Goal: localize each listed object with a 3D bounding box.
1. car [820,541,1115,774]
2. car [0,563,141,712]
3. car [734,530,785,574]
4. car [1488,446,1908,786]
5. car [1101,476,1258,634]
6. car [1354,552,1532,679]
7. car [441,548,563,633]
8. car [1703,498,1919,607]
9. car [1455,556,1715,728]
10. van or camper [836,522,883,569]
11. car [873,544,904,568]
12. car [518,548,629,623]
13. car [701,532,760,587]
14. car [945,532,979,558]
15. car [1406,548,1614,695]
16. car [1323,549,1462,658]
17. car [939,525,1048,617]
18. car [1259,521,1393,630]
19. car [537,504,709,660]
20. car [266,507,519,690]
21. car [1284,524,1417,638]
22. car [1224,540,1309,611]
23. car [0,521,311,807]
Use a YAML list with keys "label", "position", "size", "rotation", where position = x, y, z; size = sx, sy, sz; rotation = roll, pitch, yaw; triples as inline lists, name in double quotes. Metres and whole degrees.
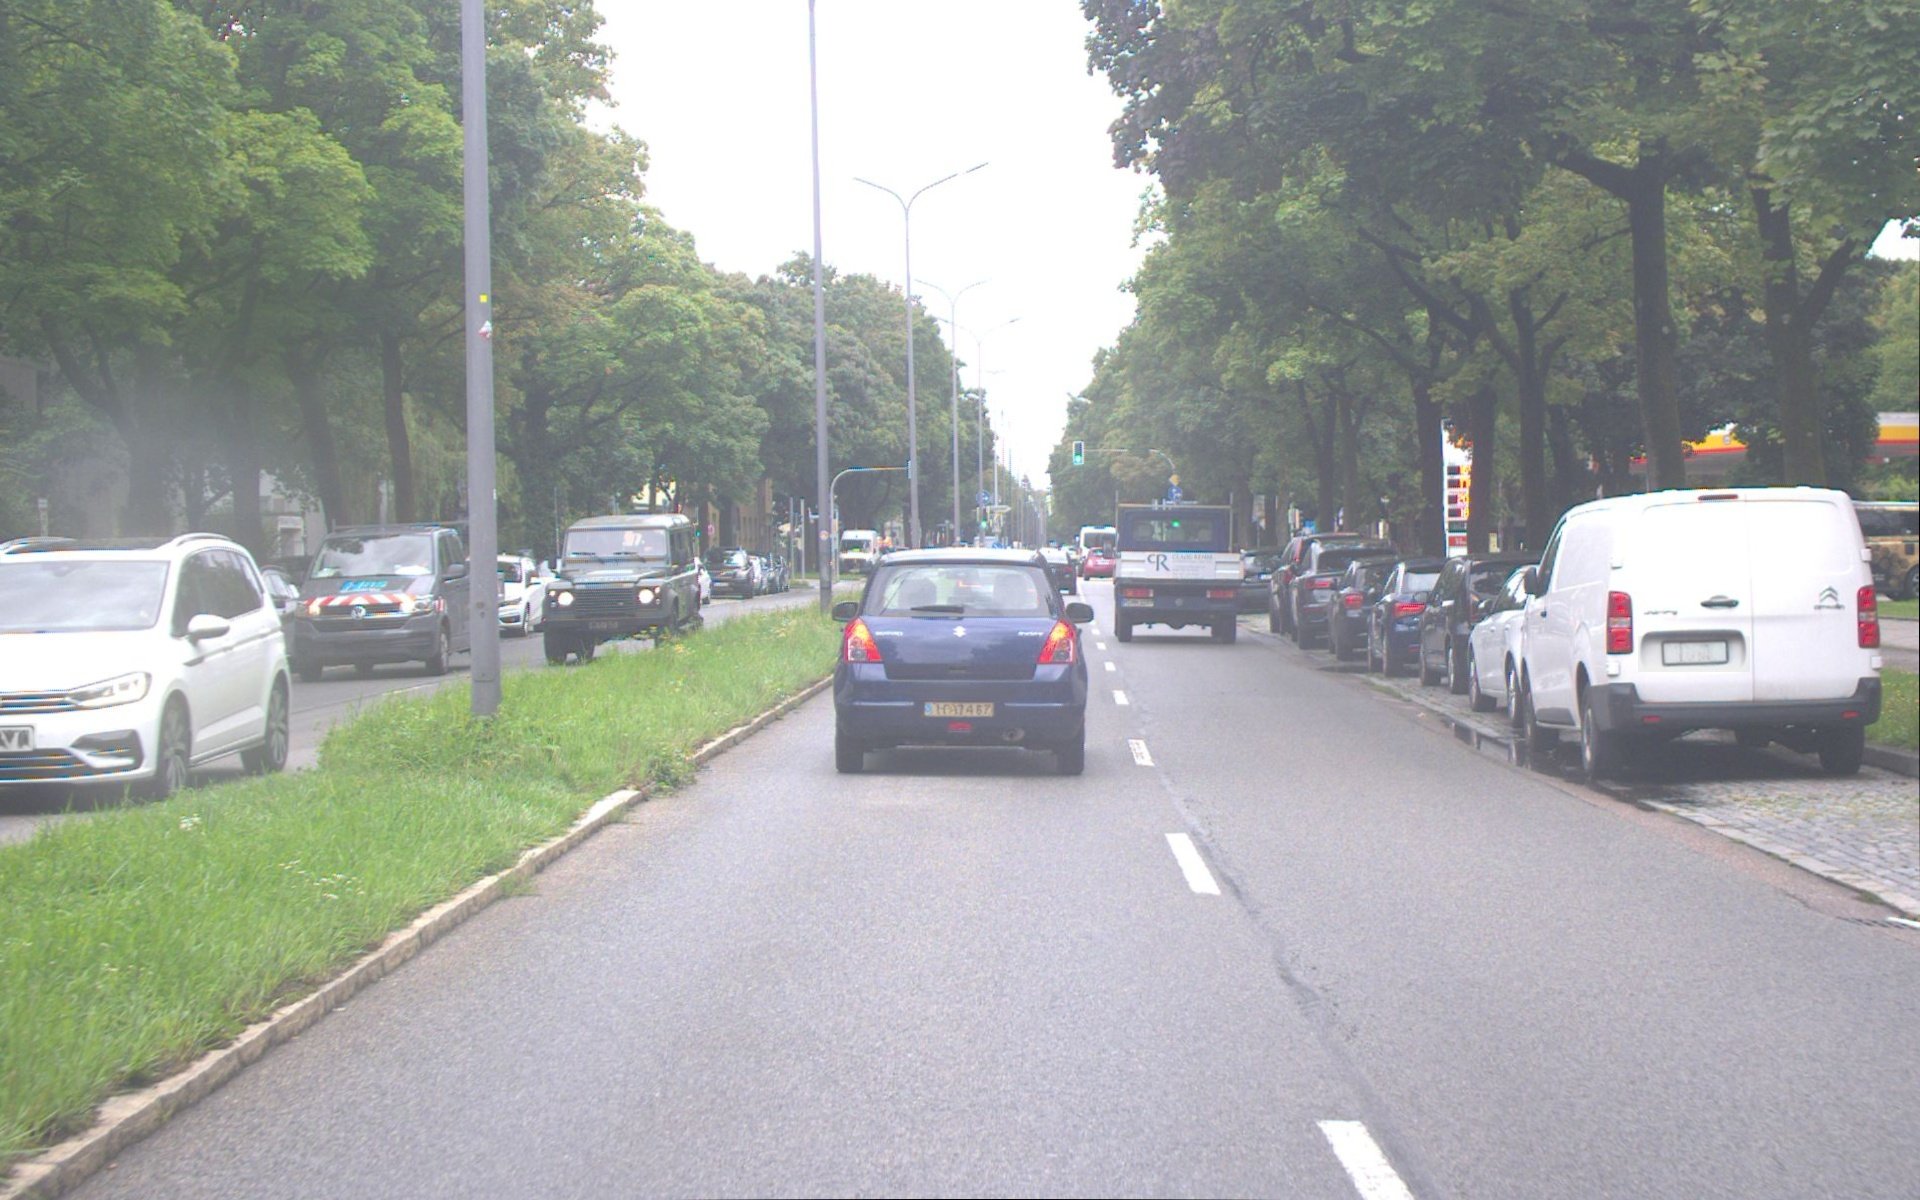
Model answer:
- label: "car"
  position: [0.009, 0.338, 23.964]
  size: [1.896, 1.494, 3.660]
  rotation: [0, 1, -1]
- label: "car"
  position: [-10.222, 0.355, 36.945]
  size: [1.626, 1.418, 4.192]
  rotation: [2, 1, 3]
- label: "car"
  position: [-7.450, -1.797, 127.818]
  size: [1.666, 1.557, 4.299]
  rotation: [-1, 1, -1]
- label: "car"
  position: [5.179, 0.053, 24.923]
  size: [1.987, 2.150, 5.555]
  rotation: [-1, 1, 2]
- label: "car"
  position: [3.549, -0.745, 55.887]
  size: [2.419, 2.436, 5.086]
  rotation: [1, 1, 3]
- label: "car"
  position: [5.878, 0.152, 42.212]
  size: [1.702, 1.416, 4.121]
  rotation: [-1, 1, 2]
- label: "car"
  position: [-9.158, -0.216, 69.027]
  size: [1.757, 1.589, 4.489]
  rotation: [2, 1, 1]
- label: "car"
  position: [17.656, -0.954, 67.971]
  size: [5.470, 2.076, 2.147]
  rotation: [-1, 1, 1]
- label: "car"
  position: [5.598, 0.330, 31.254]
  size: [1.702, 1.392, 4.232]
  rotation: [-1, 1, 2]
- label: "van or camper"
  position: [-5.574, -3.035, 190.673]
  size: [2.140, 2.467, 6.258]
  rotation: [-1, 1, 2]
- label: "car"
  position: [-4.384, -2.691, 210.776]
  size: [1.636, 1.437, 3.734]
  rotation: [-1, 1, 2]
- label: "car"
  position: [-8.816, -0.362, 78.815]
  size: [1.832, 1.604, 4.491]
  rotation: [2, 1, 2]
- label: "car"
  position: [-7.713, -1.389, 115.838]
  size: [1.796, 1.757, 5.058]
  rotation: [2, 1, -2]
- label: "car"
  position: [0.141, -3.086, 192.013]
  size: [1.739, 1.435, 4.215]
  rotation: [-1, 1, 2]
- label: "car"
  position: [5.857, 0.190, 37.012]
  size: [1.702, 1.441, 3.978]
  rotation: [-1, 1, 2]
- label: "car"
  position: [6.081, 0.017, 48.700]
  size: [1.702, 1.403, 4.512]
  rotation: [-1, 1, 4]
- label: "car"
  position: [0.601, -0.517, 59.221]
  size: [1.799, 1.494, 3.660]
  rotation: [-1, 1, 1]
- label: "car"
  position: [6.350, -0.458, 60.127]
  size: [1.893, 1.794, 4.861]
  rotation: [-1, 1, 1]
- label: "car"
  position: [-4.640, -0.286, 47.946]
  size: [1.780, 2.022, 4.818]
  rotation: [-1, 1, 1]
- label: "car"
  position: [-7.445, -0.073, 45.768]
  size: [2.209, 2.186, 5.799]
  rotation: [-2, 1, 1]
- label: "car"
  position: [6.076, -0.335, 53.922]
  size: [1.813, 1.670, 4.799]
  rotation: [-1, 1, 4]
- label: "car"
  position: [7.039, -0.593, 79.357]
  size: [1.780, 1.506, 4.284]
  rotation: [-3, 1, 4]
- label: "car"
  position: [-5.558, 0.342, 22.064]
  size: [1.834, 1.637, 4.351]
  rotation: [-1, 1, 1]
